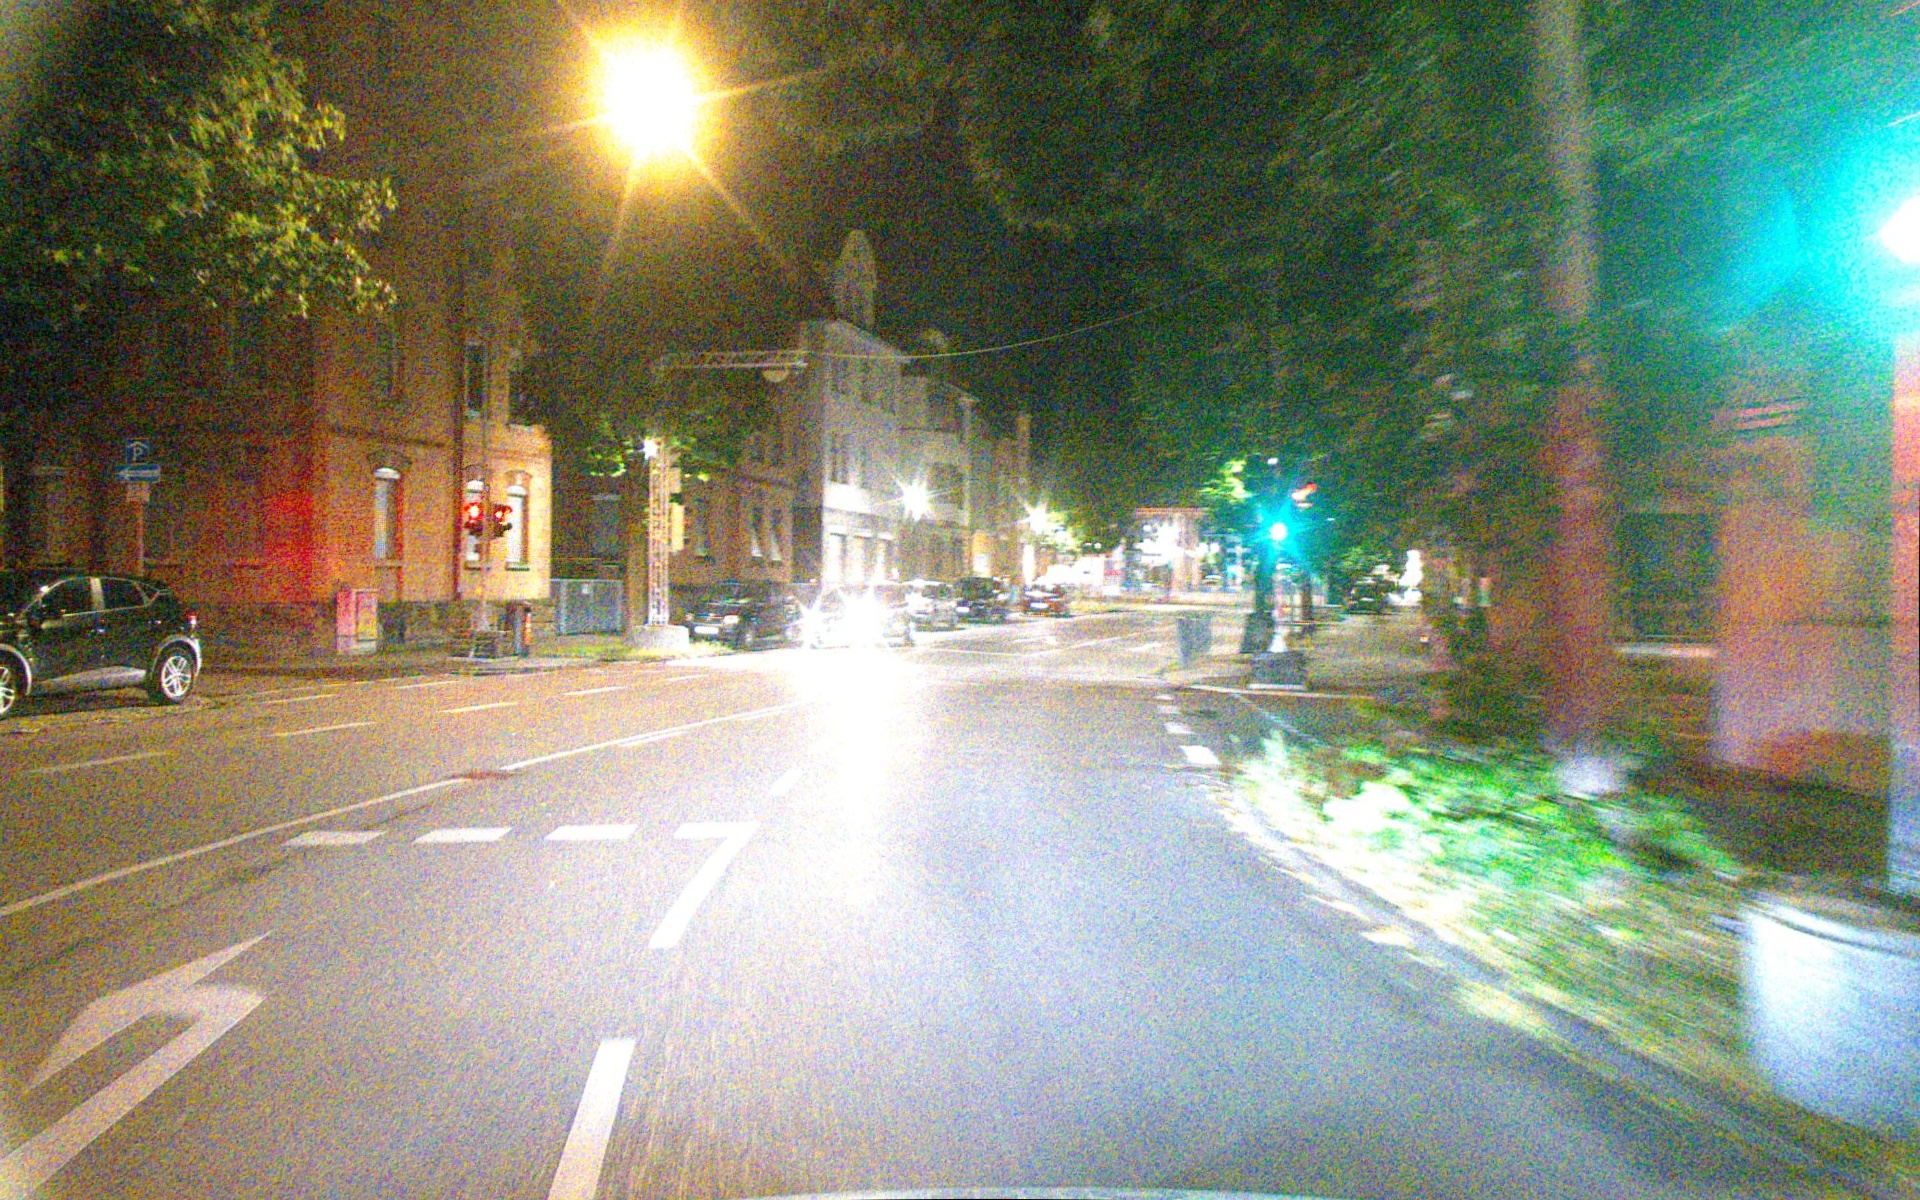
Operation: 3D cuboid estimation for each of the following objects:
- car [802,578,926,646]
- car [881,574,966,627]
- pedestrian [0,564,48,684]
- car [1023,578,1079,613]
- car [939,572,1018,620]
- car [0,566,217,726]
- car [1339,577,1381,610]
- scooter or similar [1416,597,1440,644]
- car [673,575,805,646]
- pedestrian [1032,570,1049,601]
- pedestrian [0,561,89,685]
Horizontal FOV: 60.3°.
[{"bbox_3d":[-2.156,0.238,38.379,1.679,1.454,4.003,-1,1,15],"label":"car"},{"bbox_3d":[-1.117,-0.017,53.134,1.747,1.517,4.004,3,2,13],"label":"car"},{"bbox_3d":[-13.940,0.335,24.004,0.695,1.720,0.997,0,1,25],"label":"pedestrian"},{"bbox_3d":[4.066,-0.236,73.262,1.746,1.440,4.130,2,1,13],"label":"car"},{"bbox_3d":[0.729,-0.183,60.945,1.747,1.609,4.414,3,2,16],"label":"car"},{"bbox_3d":[-10.541,0.454,18.560,1.846,1.624,4.027,2,1,16],"label":"car"},{"bbox_3d":[18.971,-0.338,78.583,1.696,1.485,4.732,1,1,10],"label":"car"},{"bbox_3d":[11.777,0.510,41.602,0.413,1.150,1.493,0,1,22],"label":"scooter or similar"},{"bbox_3d":[-5.143,0.214,38.943,1.559,1.517,3.701,3,2,19],"label":"car"},{"bbox_3d":[4.812,-0.877,98.502,0.716,1.853,0.685,2,0,-32],"label":"pedestrian"},{"bbox_3d":[-13.135,0.311,23.519,0.695,1.720,1.123,0,1,25],"label":"pedestrian"}]
